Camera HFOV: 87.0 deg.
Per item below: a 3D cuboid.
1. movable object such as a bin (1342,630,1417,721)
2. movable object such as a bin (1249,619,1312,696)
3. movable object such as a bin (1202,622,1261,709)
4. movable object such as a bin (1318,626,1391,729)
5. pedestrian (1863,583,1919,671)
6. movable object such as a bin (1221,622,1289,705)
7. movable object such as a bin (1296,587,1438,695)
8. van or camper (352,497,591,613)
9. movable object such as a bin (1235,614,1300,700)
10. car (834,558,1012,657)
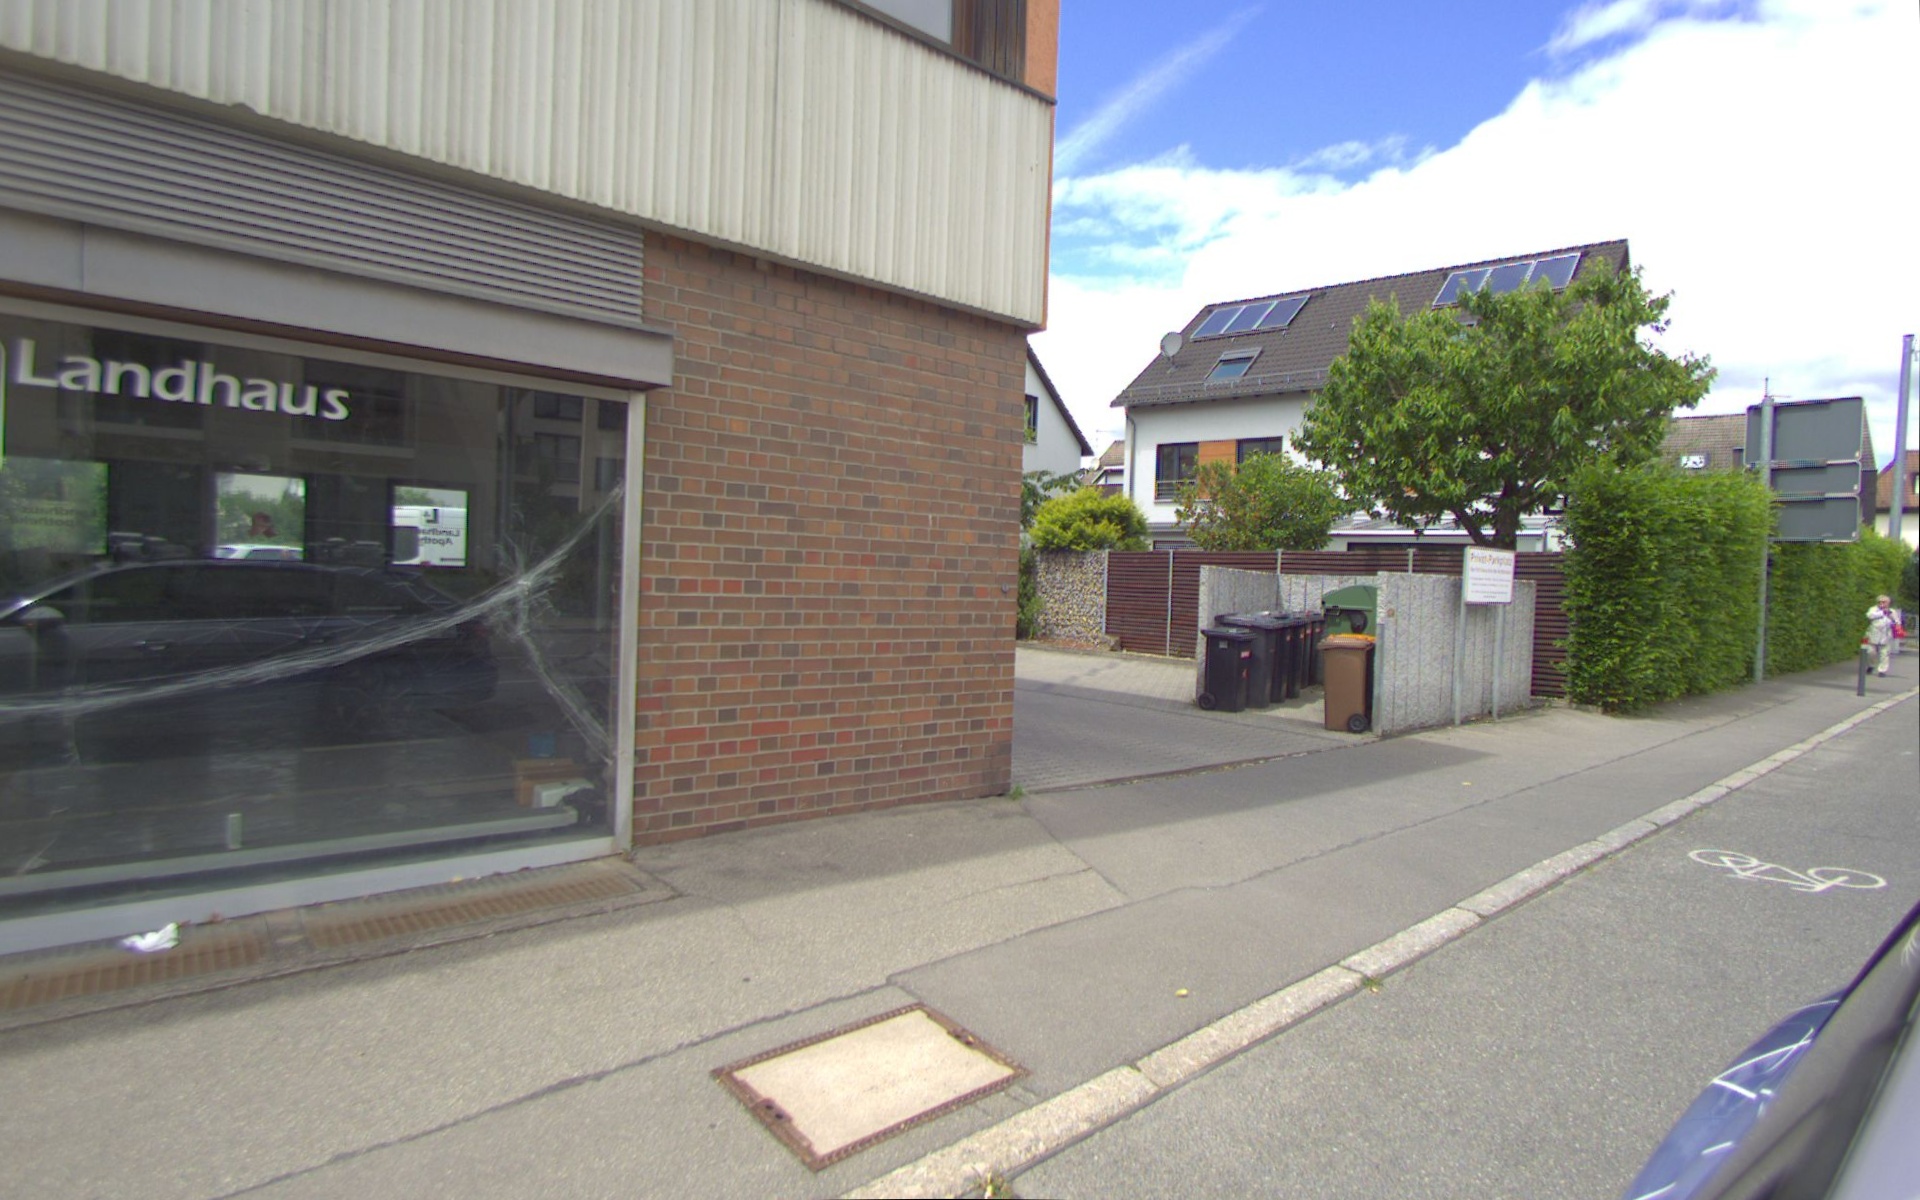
[{"bbox_3d":[4.498,0.790,10.859,0.532,0.903,0.668,2,1,43],"label":"movable object such as a bin"},{"bbox_3d":[4.036,0.713,12.731,0.630,0.903,0.534,1,1,33],"label":"movable object such as a bin"},{"bbox_3d":[3.064,0.724,11.401,0.490,0.924,0.534,1,1,33],"label":"movable object such as a bin"},{"bbox_3d":[4.011,0.764,10.281,0.530,0.963,0.678,1,1,36],"label":"movable object such as a bin"},{"bbox_3d":[18.259,0.514,19.732,0.641,1.637,0.801,1,3,-39],"label":"pedestrian"},{"bbox_3d":[3.442,0.721,11.815,0.630,0.903,0.534,1,1,33],"label":"movable object such as a bin"},{"bbox_3d":[5.311,0.489,13.195,1.509,1.278,1.190,0,1,-43],"label":"movable object such as a bin"},{"bbox_3d":[-12.044,-1.074,25.475,2.034,2.574,5.474,2,2,21],"label":"van or camper"},{"bbox_3d":[3.735,0.680,12.278,0.624,0.979,0.534,1,1,33],"label":"movable object such as a bin"},{"bbox_3d":[-0.545,0.077,18.350,1.768,1.555,3.767,2,2,23],"label":"car"}]
